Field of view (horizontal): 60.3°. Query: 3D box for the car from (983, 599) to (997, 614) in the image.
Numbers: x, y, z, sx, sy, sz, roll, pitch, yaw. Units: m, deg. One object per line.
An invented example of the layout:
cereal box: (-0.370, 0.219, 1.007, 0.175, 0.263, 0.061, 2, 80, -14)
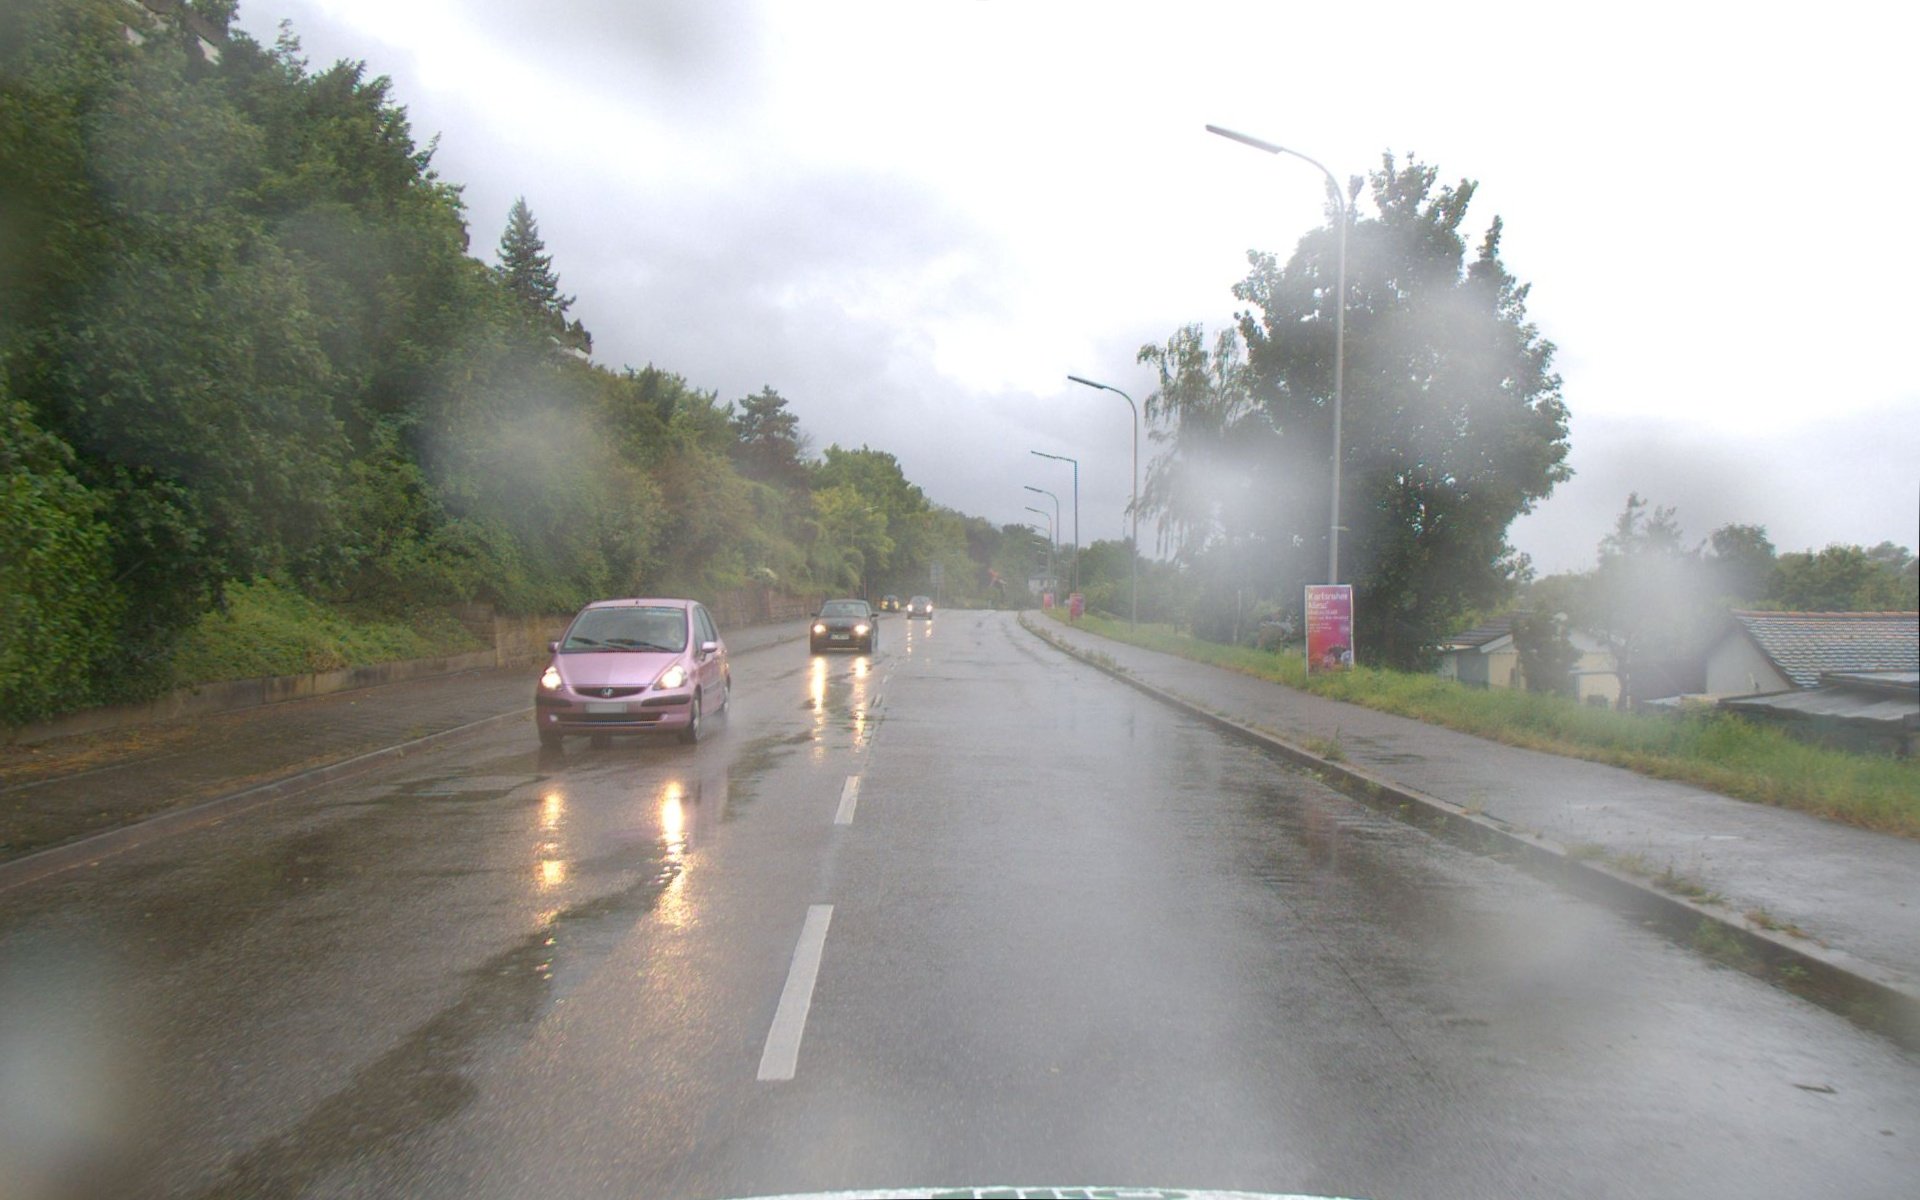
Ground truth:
car: (4.190, 0.981, 231.980, 1.952, 2.049, 4.000, 1, -1, 0)

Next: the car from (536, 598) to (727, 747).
car: (-3.538, 0.734, 18.357, 1.629, 1.486, 3.659, 0, 0, -4)

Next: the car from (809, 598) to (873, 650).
car: (-3.272, 0.660, 45.939, 1.621, 1.375, 3.985, 0, 0, -2)

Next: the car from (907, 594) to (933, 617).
car: (-2.653, 0.363, 110.746, 1.724, 1.522, 4.126, 0, 0, -1)

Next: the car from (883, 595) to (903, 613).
car: (-5.747, 0.361, 141.697, 1.692, 1.522, 3.985, 0, 0, -2)
